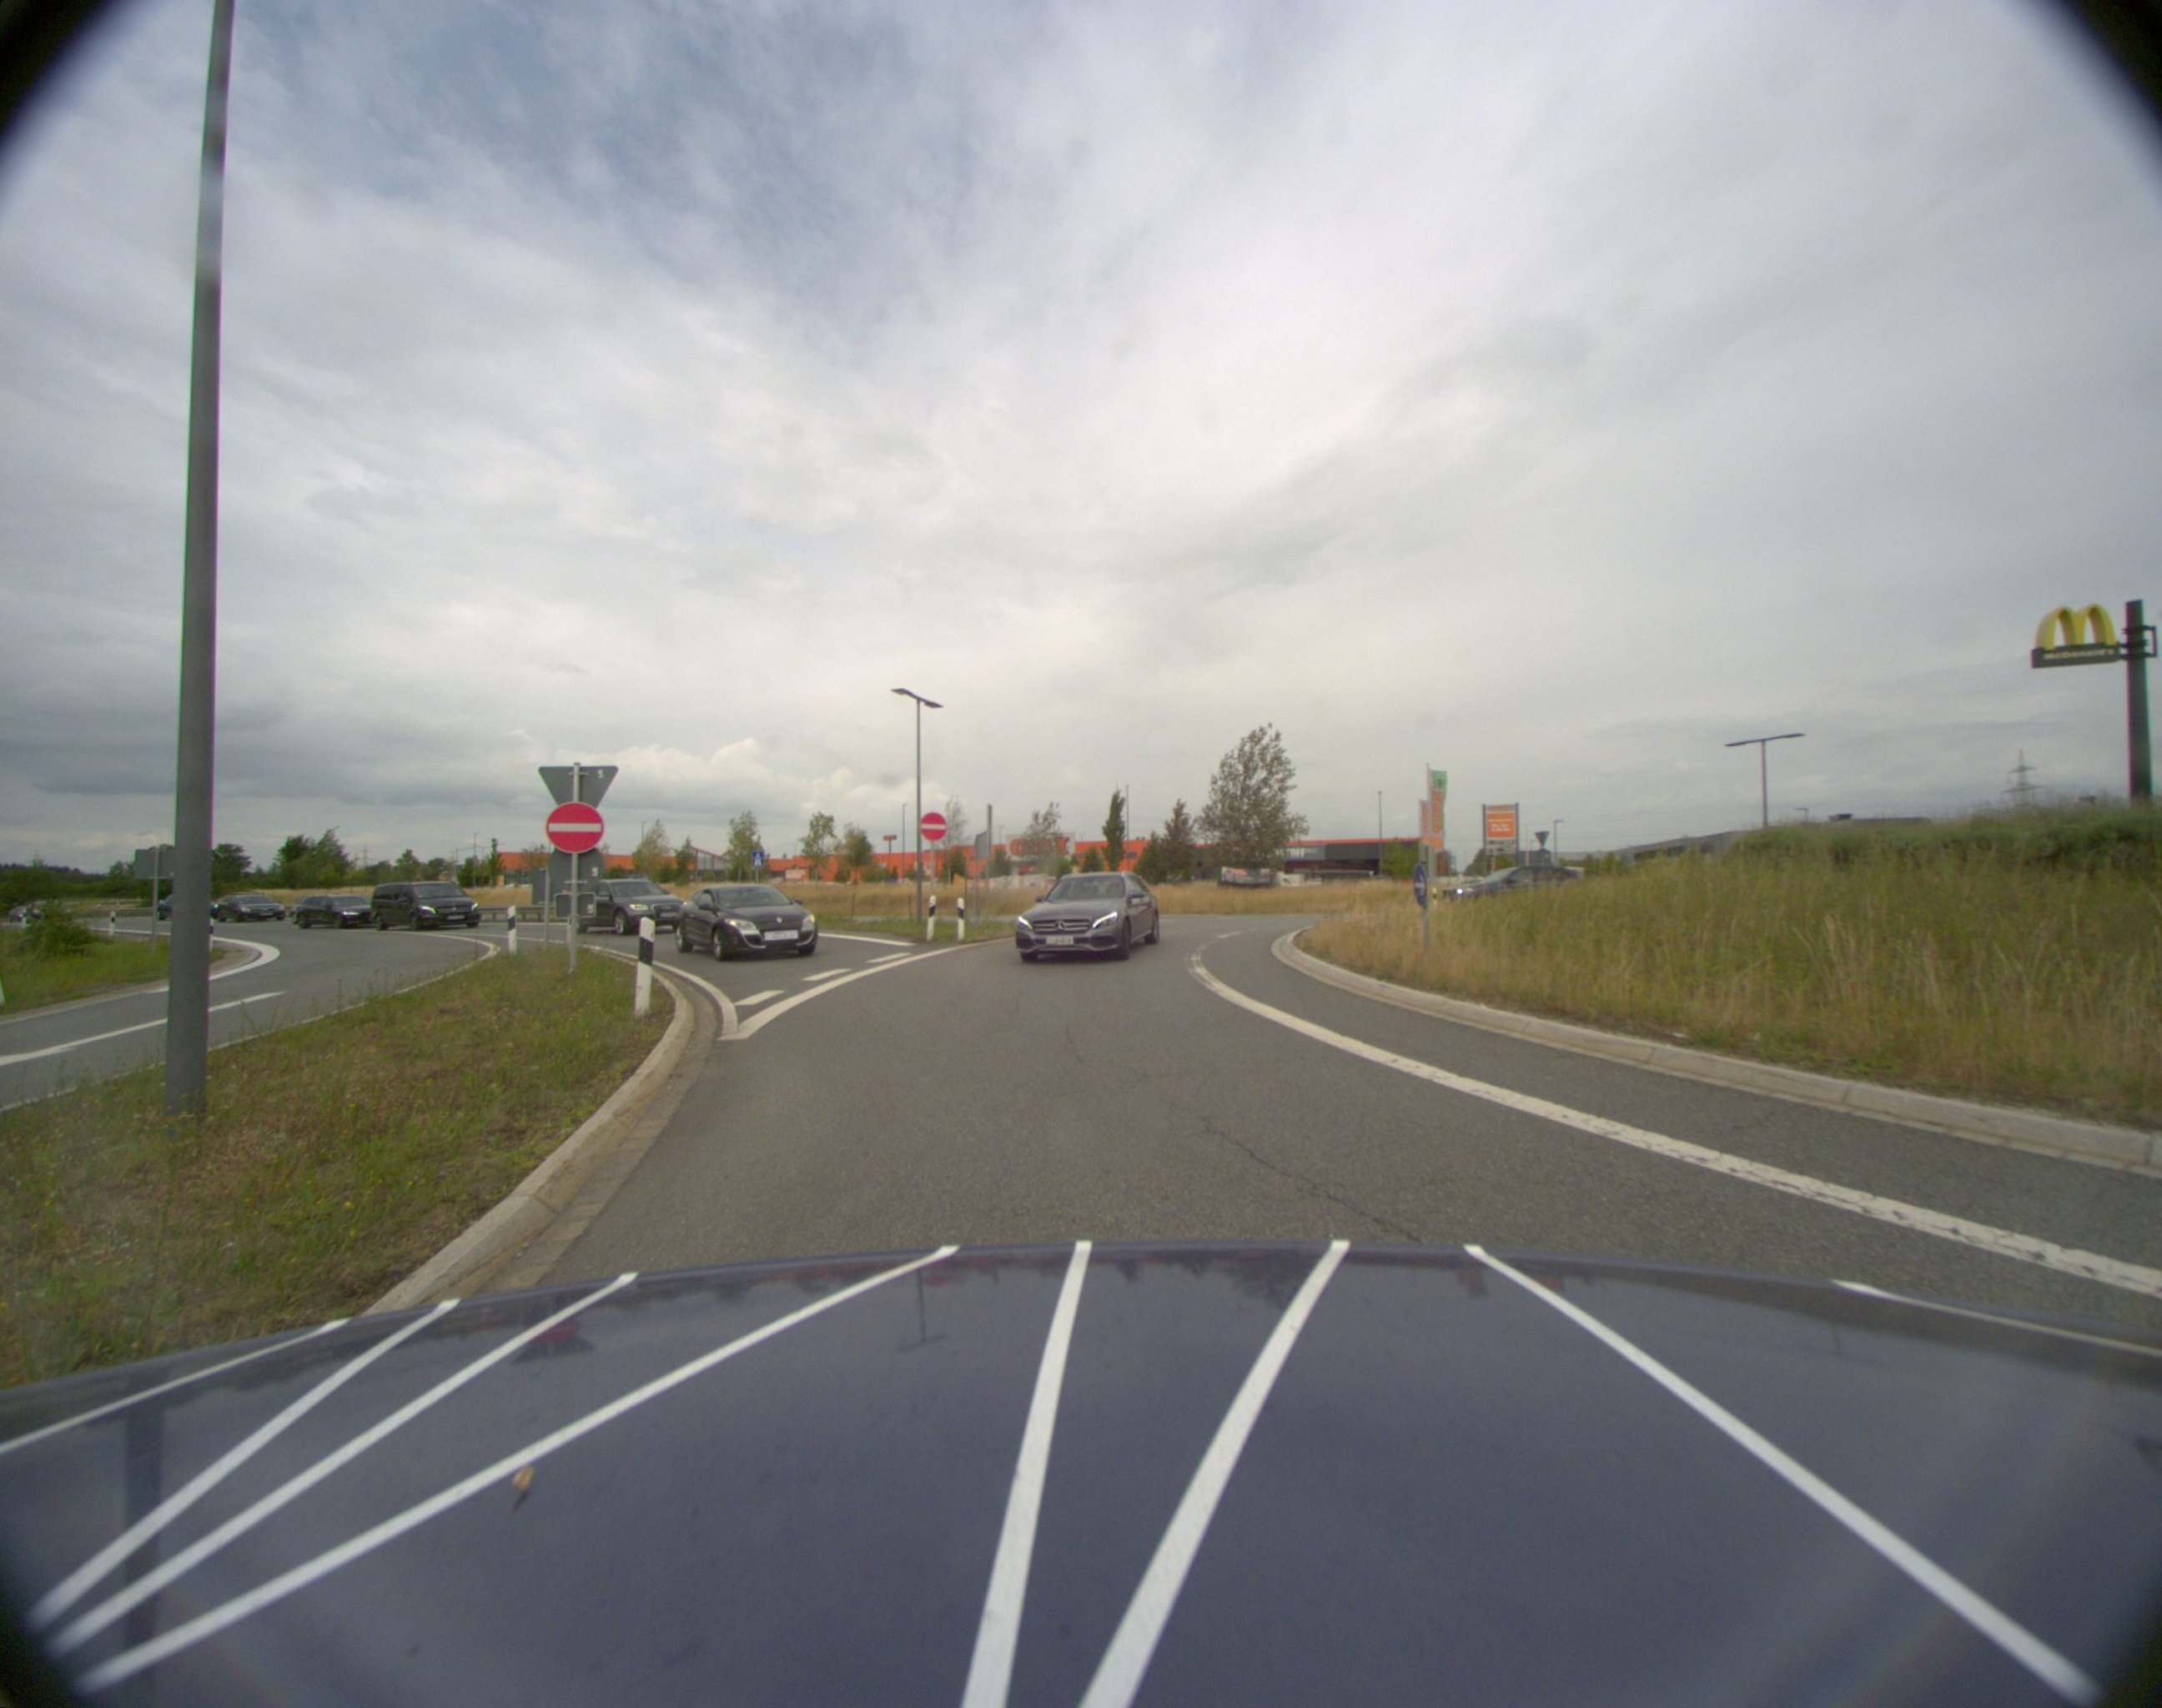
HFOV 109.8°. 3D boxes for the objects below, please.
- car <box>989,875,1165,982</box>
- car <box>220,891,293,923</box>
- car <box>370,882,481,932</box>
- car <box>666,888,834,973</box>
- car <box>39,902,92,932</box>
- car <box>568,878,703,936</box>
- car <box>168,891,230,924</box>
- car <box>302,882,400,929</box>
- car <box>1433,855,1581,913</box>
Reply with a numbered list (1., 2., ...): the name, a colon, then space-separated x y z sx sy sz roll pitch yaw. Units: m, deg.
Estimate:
1. car: 0.140 1.134 13.146 1.904 1.488 4.345 -1 -1 16
2. car: -45.464 2.897 41.890 3.990 1.653 1.767 -2 -1 28
3. car: -25.096 2.000 29.045 4.733 1.711 1.726 -2 -1 30
4. car: -6.730 1.413 15.221 1.847 1.362 4.134 -1 -1 -42
5. car: -69.705 4.265 52.129 3.989 1.871 1.767 -2 -1 31
6. car: -13.619 1.579 23.179 4.265 1.573 1.888 -2 -1 34
7. car: -54.796 3.296 47.204 3.990 1.871 1.767 -2 -1 30
8. car: -31.599 2.204 32.885 3.990 1.871 1.810 -2 -1 27
9. car: 14.596 1.056 26.253 3.994 1.708 1.846 -3 -3 11
